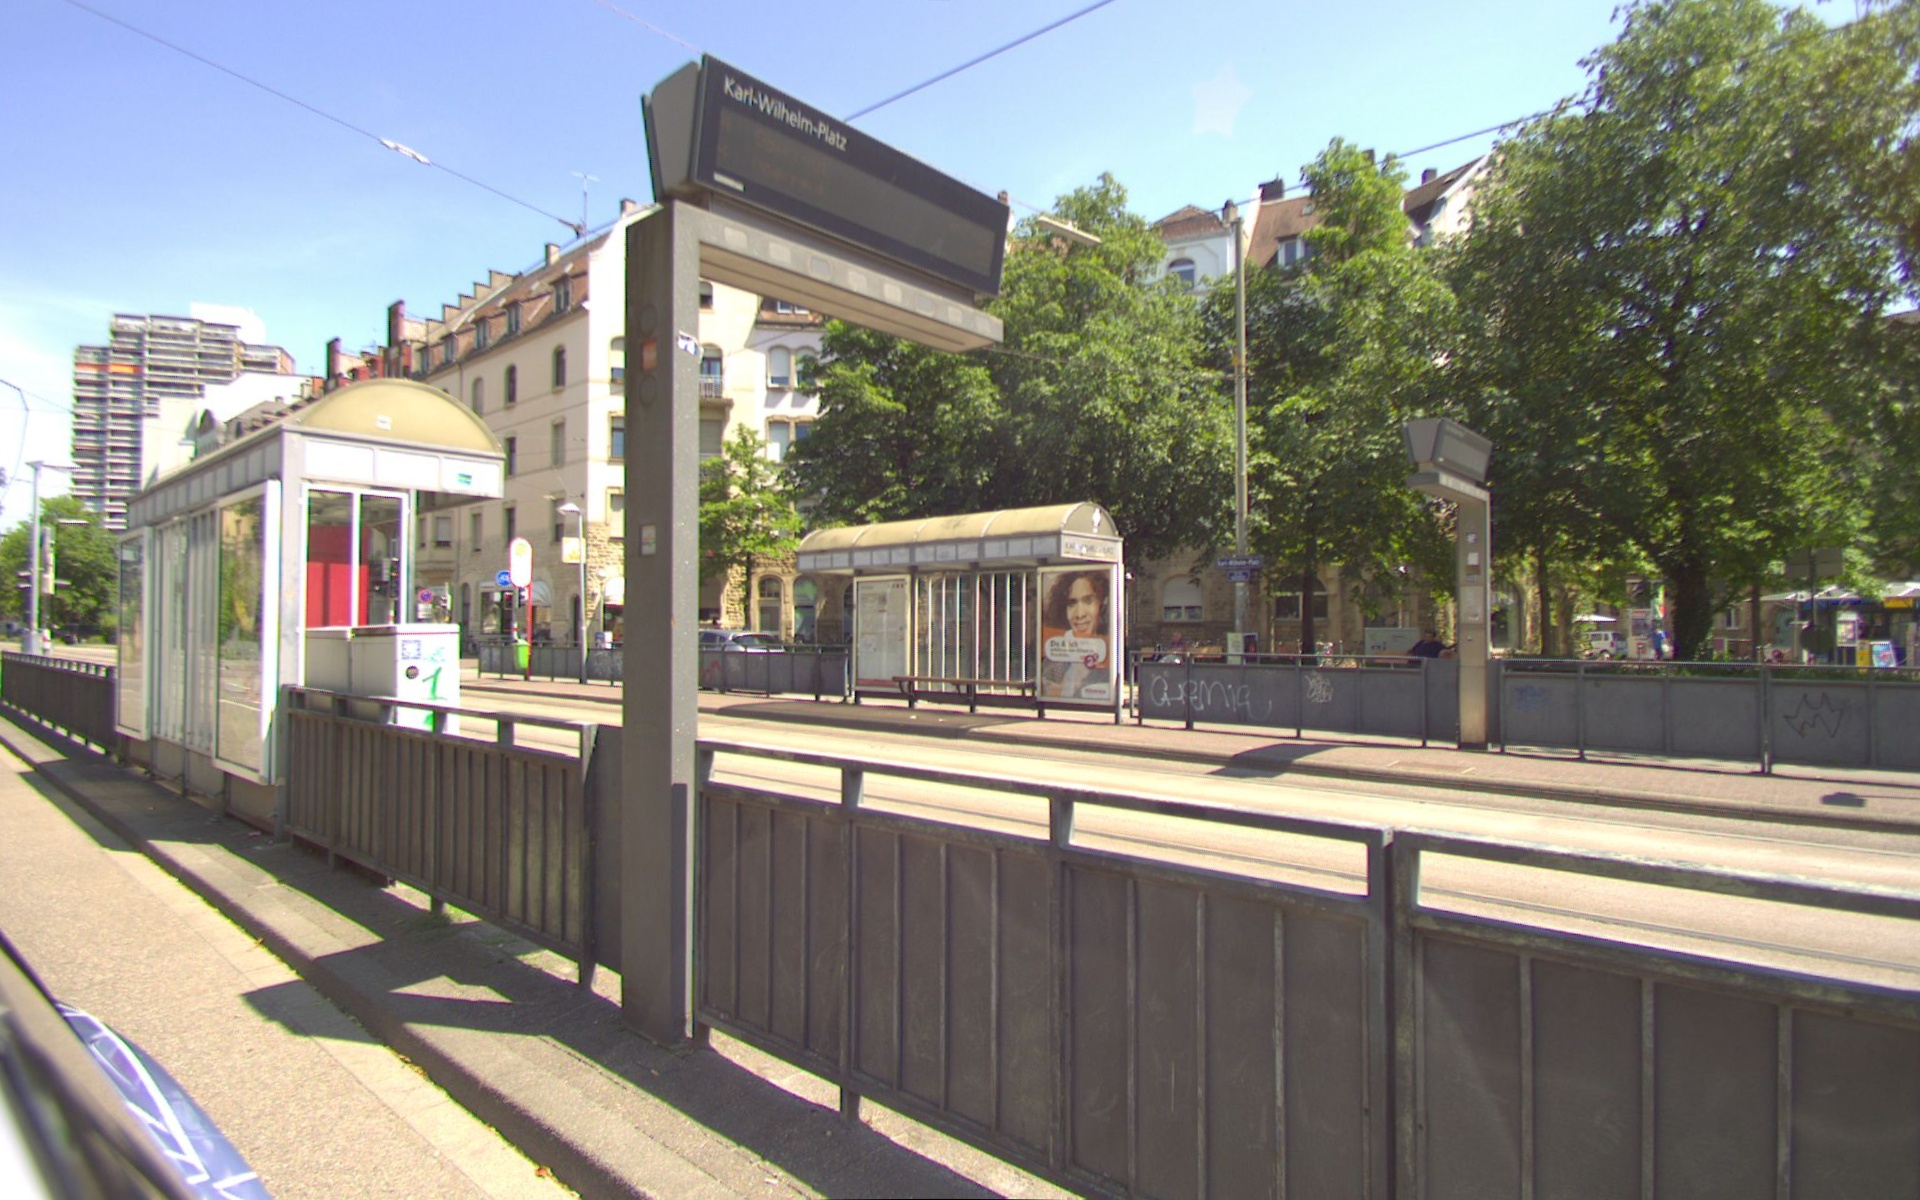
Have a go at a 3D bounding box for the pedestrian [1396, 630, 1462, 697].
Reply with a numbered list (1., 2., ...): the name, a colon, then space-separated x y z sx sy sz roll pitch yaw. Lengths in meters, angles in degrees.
1. pedestrian: 9.284 1.242 20.040 0.852 1.253 0.939 -1 0 -43

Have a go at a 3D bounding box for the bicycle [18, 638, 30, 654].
1. bicycle: -93.284 4.613 100.858 1.969 1.524 0.636 -1 0 39

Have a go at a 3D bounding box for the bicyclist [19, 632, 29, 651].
1. bicyclist: -93.290 4.157 100.848 0.715 1.889 0.636 -1 0 39

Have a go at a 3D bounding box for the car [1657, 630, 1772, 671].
1. car: 35.790 2.351 48.102 1.736 1.721 3.998 -1 0 -33

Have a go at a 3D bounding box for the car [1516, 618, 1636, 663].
1. car: 26.720 1.707 44.009 1.966 1.803 4.011 -1 0 -33

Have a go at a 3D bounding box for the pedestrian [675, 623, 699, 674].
1. pedestrian: -8.909 1.578 33.078 0.473 1.659 0.586 -2 -3 41

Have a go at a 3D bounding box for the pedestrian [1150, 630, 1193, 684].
1. pedestrian: 5.095 1.359 24.315 0.930 1.253 0.860 -1 0 17

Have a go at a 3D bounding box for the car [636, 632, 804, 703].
1. car: -5.597 1.493 23.361 3.998 1.404 1.789 -1 0 41

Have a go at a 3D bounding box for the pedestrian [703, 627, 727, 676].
1. pedestrian: -7.865 1.659 32.527 0.473 1.563 0.586 -2 -3 39

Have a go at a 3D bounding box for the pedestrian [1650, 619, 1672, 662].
1. pedestrian: 27.937 1.614 40.353 0.483 1.683 0.517 1 -2 -27
